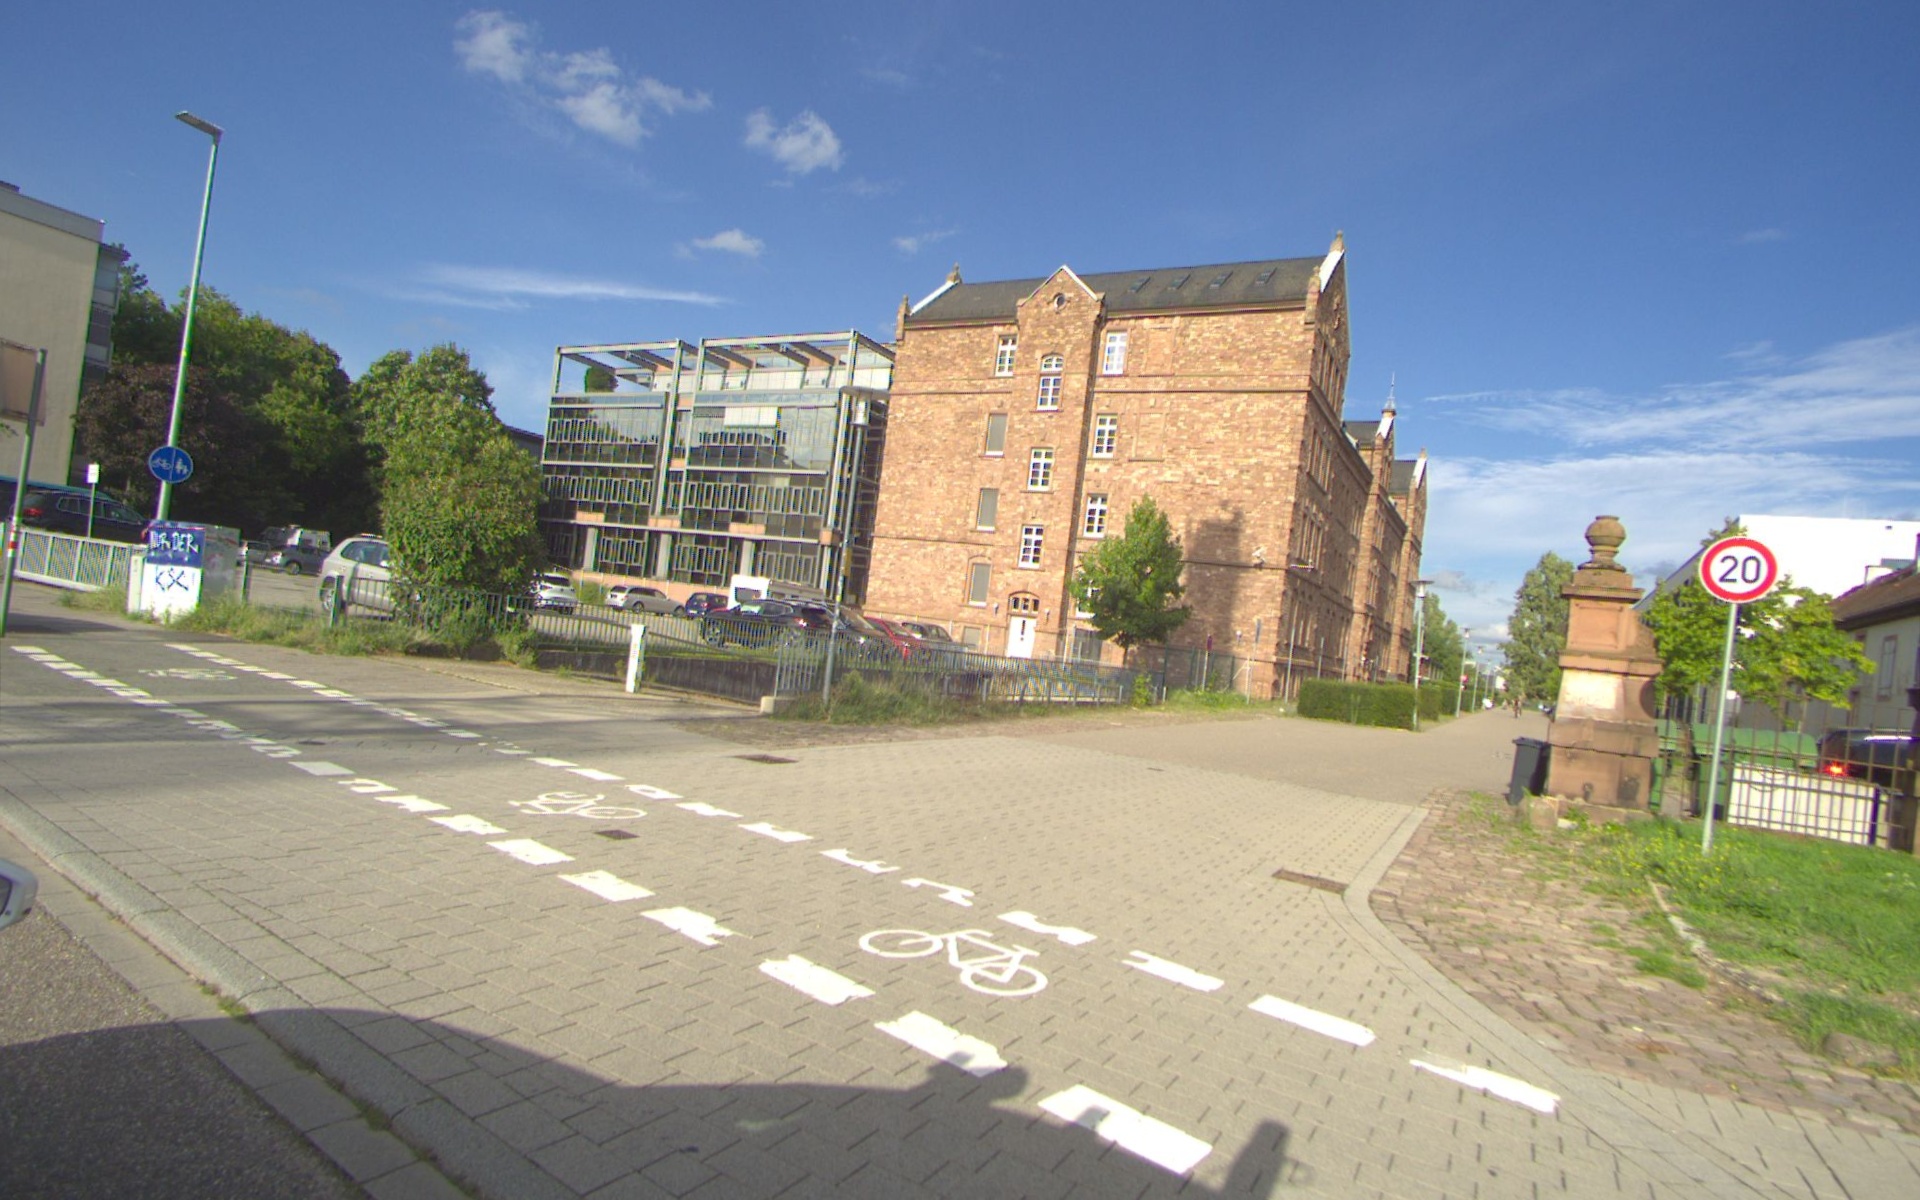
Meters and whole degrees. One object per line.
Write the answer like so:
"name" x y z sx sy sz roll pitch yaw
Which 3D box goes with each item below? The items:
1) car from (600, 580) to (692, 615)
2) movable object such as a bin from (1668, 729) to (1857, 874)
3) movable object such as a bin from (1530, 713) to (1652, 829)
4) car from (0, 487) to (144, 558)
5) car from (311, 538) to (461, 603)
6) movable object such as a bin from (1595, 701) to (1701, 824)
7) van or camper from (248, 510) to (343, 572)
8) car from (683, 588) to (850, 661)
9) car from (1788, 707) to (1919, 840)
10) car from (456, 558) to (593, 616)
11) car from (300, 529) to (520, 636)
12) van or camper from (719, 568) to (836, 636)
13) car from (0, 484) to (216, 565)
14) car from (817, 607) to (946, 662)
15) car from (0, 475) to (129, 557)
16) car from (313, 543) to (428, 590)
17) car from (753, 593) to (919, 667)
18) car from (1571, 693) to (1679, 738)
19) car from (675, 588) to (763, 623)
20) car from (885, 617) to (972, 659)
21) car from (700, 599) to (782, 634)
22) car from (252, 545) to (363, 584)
"car" -16.346 -0.122 52.541 1.782 1.397 4.317 6 0 37
"movable object such as a bin" 10.339 2.547 13.074 1.517 1.476 1.418 6 -2 25
"movable object such as a bin" 8.045 2.150 12.908 1.074 1.245 1.194 6 -2 25
"car" -29.016 -2.501 32.193 1.967 1.759 3.992 6 -1 32
"car" -17.388 -0.894 30.473 3.929 1.459 1.999 6 -1 26
"movable object such as a bin" 9.172 2.139 13.456 0.925 1.440 0.832 6 0 25
"van or camper" -37.523 -3.345 56.792 5.036 2.910 2.332 6 0 31
"car" -5.629 0.692 29.148 4.529 1.609 1.853 5 -1 30
"car" 14.683 2.649 14.044 4.430 1.628 1.996 6 0 32
"car" -14.839 -0.433 34.299 3.926 1.459 2.000 6 -1 22
"car" -11.288 -0.368 20.627 4.081 1.686 1.997 6 -1 30
"van or camper" -8.458 0.175 47.242 2.550 2.587 5.252 6 -1 27
"car" -24.797 -2.147 29.352 1.967 1.641 4.454 6 -1 32
"car" -2.647 1.175 34.040 3.887 1.281 1.714 8 0 24
"car" -30.793 -2.852 33.632 1.967 2.212 4.125 6 -1 32
"car" -26.801 -1.485 45.862 1.965 1.570 3.996 6 -1 28
"car" -3.876 0.927 31.348 4.716 1.765 1.855 6 0 24
"car" 41.758 7.262 63.330 5.396 2.036 1.998 5 -3 32
"car" -12.062 0.312 50.652 1.778 1.372 4.326 6 0 28
"car" -1.333 1.713 44.599 1.966 1.459 3.995 6 -1 29
"car" -10.574 0.830 48.847 1.633 1.303 3.997 6 -1 27
"car" -31.434 -1.697 48.573 1.965 1.345 3.997 6 -1 27
